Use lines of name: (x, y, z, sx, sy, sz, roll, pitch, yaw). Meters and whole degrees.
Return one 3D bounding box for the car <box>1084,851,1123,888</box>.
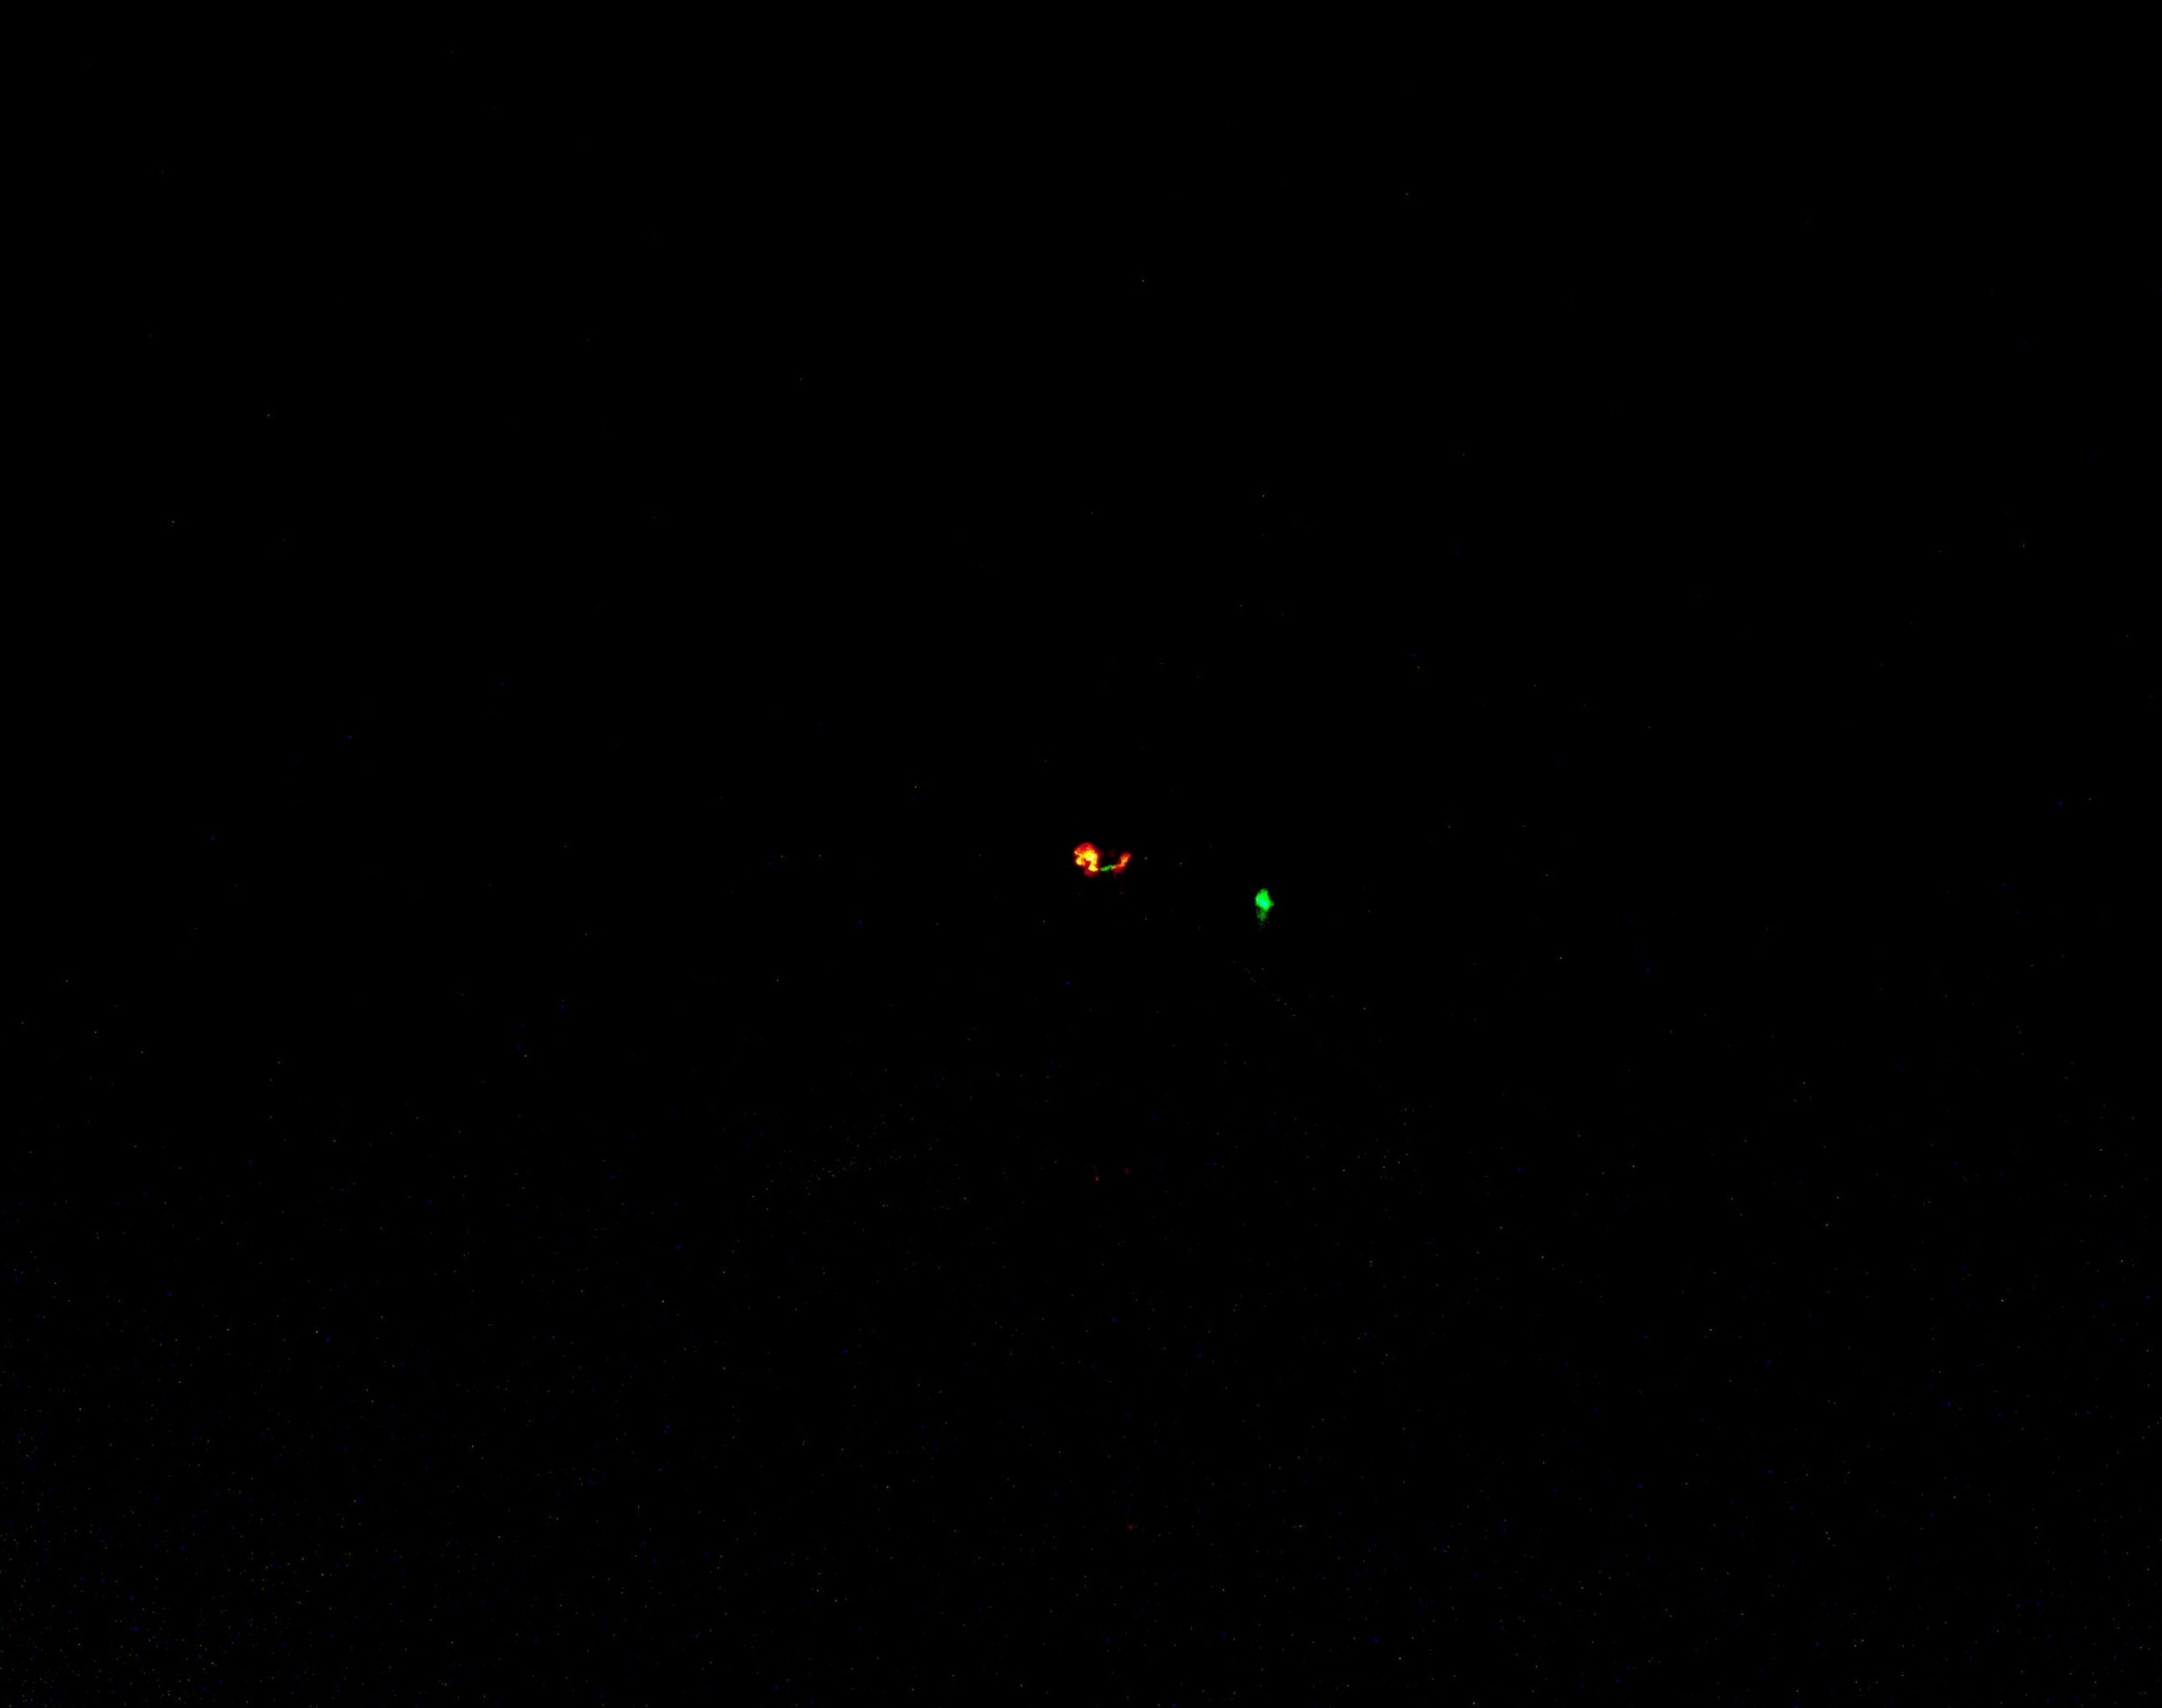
car: (1.138, 0.728, 40.588, 1.835, 1.740, 4.002, -1, 0, 2)
